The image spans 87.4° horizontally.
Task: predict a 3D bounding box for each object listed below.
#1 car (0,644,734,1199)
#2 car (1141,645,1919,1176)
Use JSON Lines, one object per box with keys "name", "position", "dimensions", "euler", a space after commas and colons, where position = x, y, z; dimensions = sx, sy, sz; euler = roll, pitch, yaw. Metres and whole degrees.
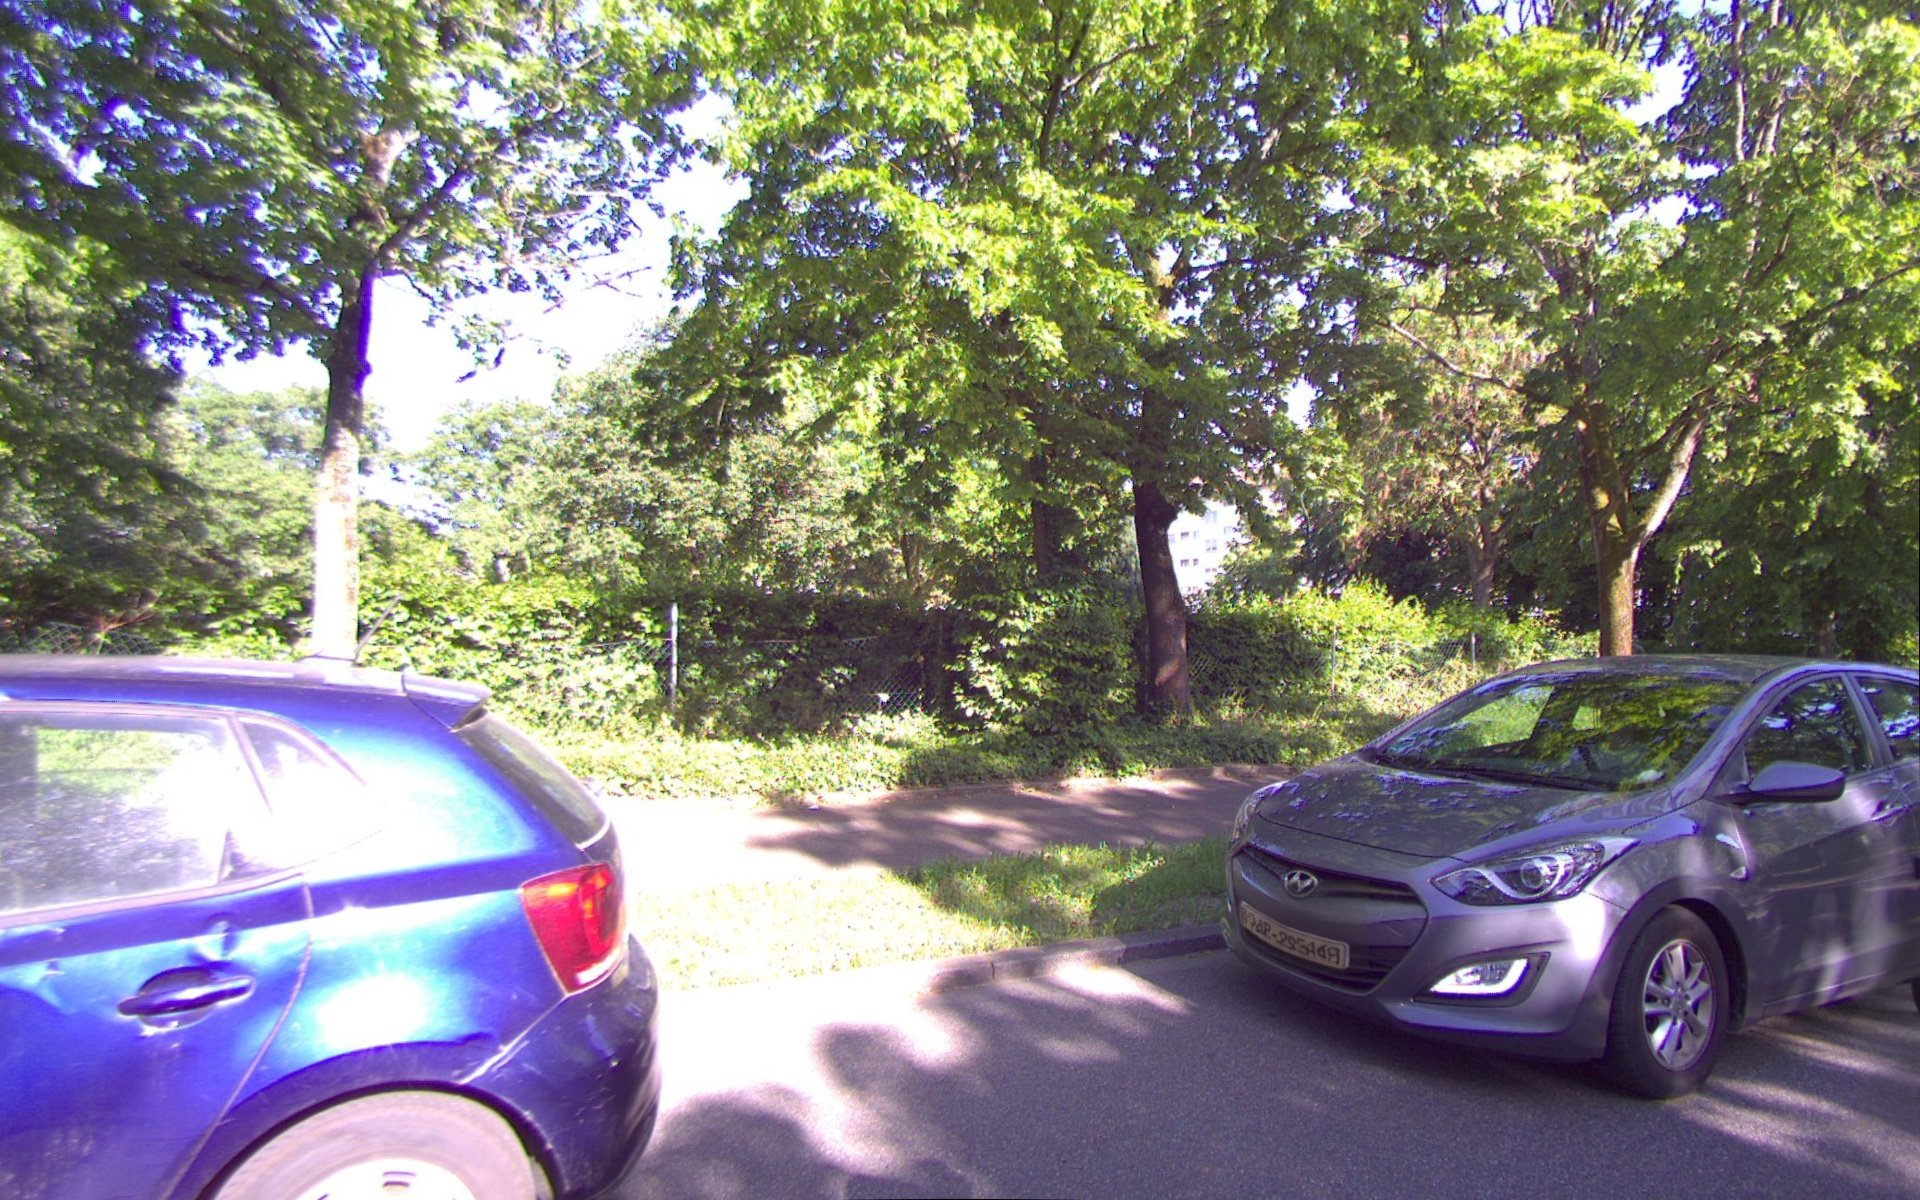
{"name": "car", "position": [-2.437, 0.811, 1.988], "dimensions": [3.606, 1.445, 1.595], "euler": [1, -3, -28]}
{"name": "car", "position": [3.053, 0.939, 4.484], "dimensions": [4.184, 1.473, 1.751], "euler": [1, -3, -24]}
